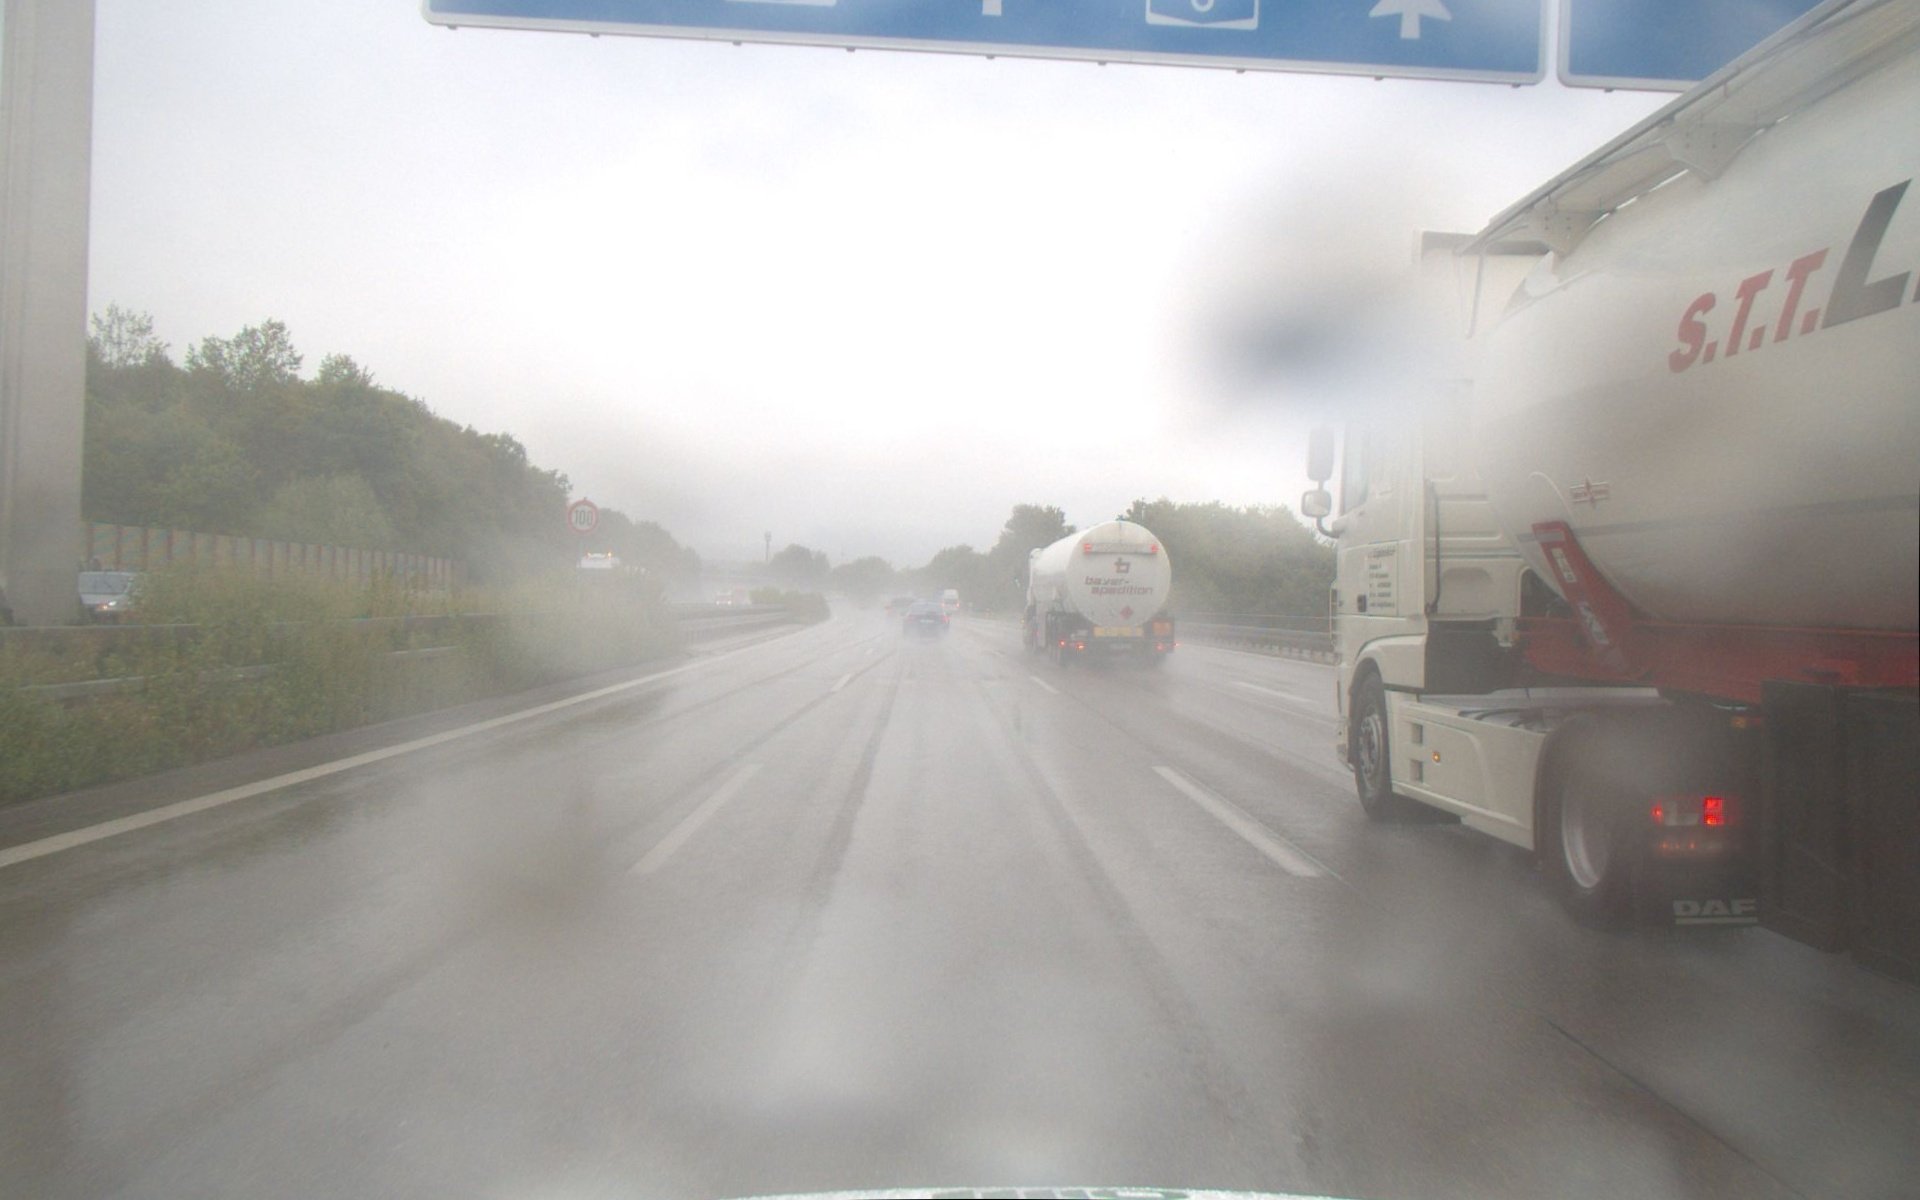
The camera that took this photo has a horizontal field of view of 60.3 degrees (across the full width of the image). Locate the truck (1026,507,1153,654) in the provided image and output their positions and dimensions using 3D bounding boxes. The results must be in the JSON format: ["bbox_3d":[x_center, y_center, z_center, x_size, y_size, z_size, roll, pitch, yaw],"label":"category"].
[{"bbox_3d":[3.489,-0.509,46.141,2.884,3.749,6.360,1,0,-1],"label":"truck"}]

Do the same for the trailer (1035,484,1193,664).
[{"bbox_3d":[3.603,-0.571,40.793,2.943,3.915,8.622,1,0,-1],"label":"trailer"}]

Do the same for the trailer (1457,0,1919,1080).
[{"bbox_3d":[4.434,-0.415,3.514,3.123,3.734,11.665,1,0,-1],"label":"trailer"}]

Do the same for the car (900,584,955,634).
[{"bbox_3d":[-1.263,0.303,62.182,1.939,1.787,4.479,1,1,-3],"label":"car"}]

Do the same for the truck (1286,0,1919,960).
[{"bbox_3d":[4.340,-0.485,10.262,3.041,3.873,7.210,1,0,-1],"label":"truck"}]
